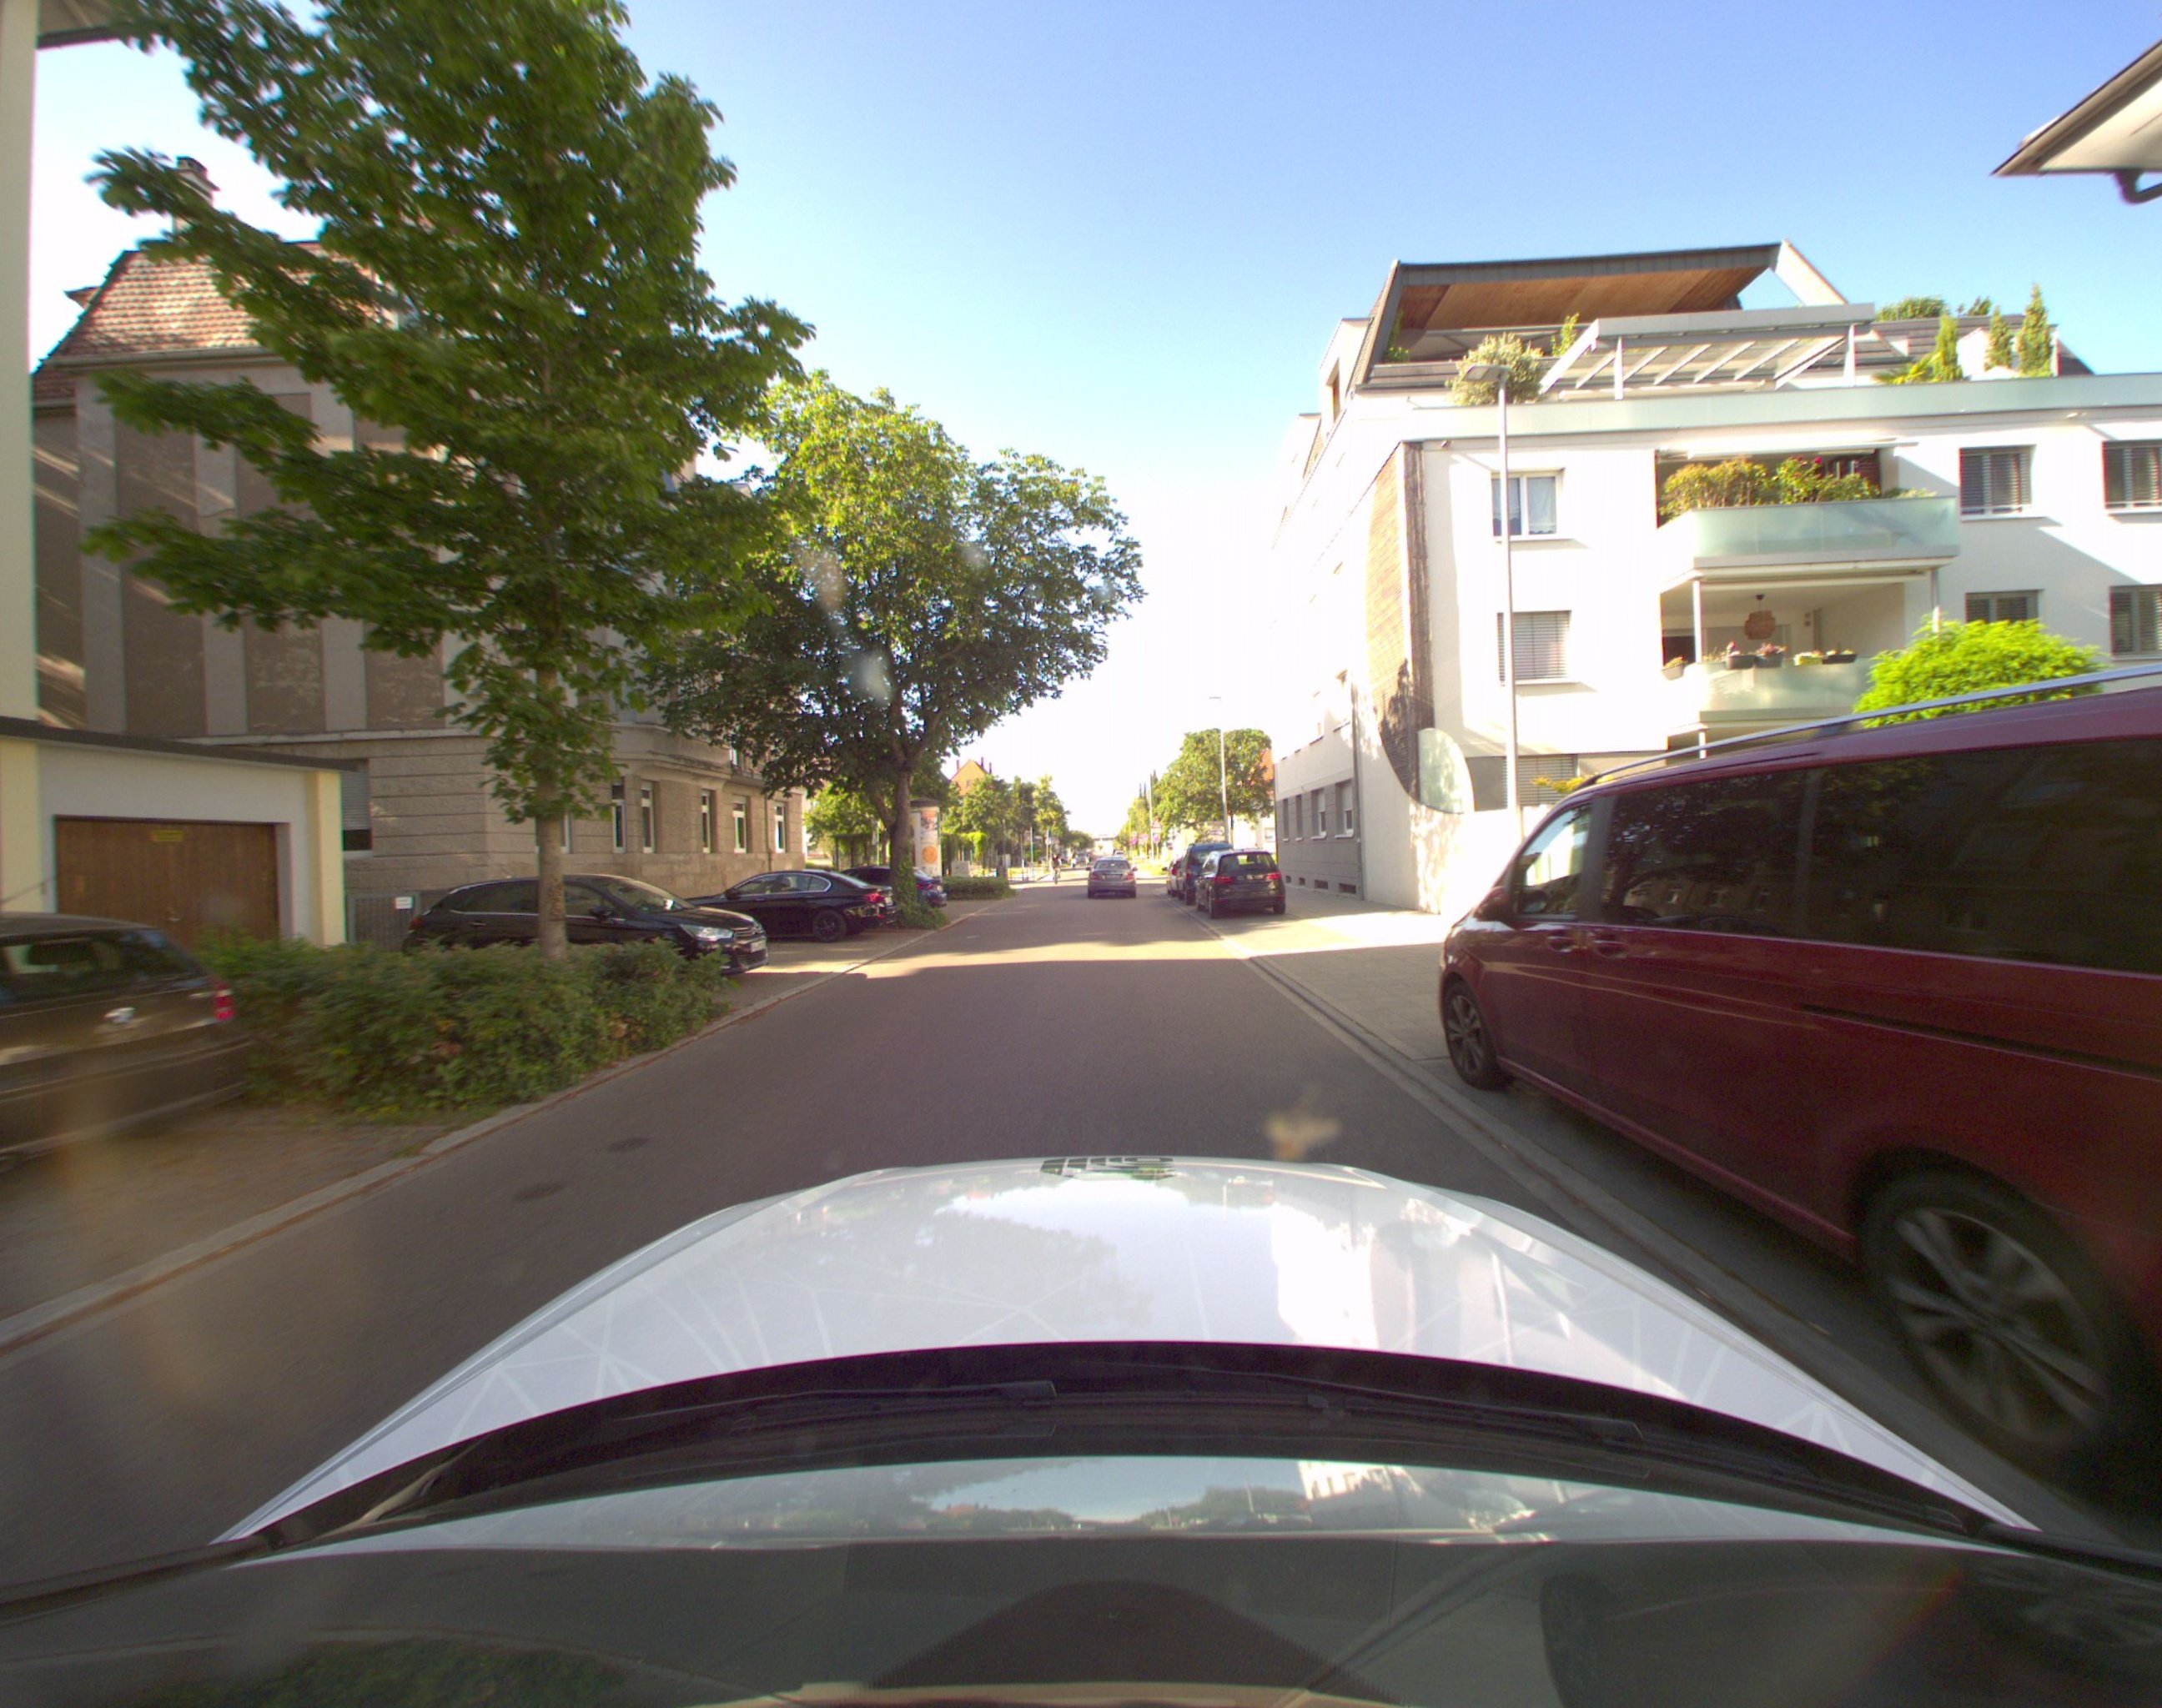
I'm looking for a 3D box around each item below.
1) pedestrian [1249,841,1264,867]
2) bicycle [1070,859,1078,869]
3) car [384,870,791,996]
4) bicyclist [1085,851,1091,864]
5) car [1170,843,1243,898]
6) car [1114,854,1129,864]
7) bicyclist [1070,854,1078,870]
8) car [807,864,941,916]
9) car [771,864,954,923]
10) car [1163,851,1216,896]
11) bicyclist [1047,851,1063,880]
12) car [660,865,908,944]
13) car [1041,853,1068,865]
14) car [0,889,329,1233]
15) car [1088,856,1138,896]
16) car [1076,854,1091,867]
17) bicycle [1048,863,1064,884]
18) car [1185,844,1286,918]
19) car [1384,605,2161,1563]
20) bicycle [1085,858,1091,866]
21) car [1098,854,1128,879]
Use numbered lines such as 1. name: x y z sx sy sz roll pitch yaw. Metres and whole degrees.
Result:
1. pedestrian: 11.520 0.004 53.468 0.640 1.623 0.621 -3 0 40
2. bicycle: -0.661 0.966 77.454 0.586 0.931 1.852 -2 0 3
3. car: -6.311 0.963 10.917 4.166 1.500 1.996 0 -1 -6
4. bicyclist: 0.802 0.449 96.288 0.569 1.509 0.655 -2 0 3
5. car: 3.910 0.535 25.994 1.676 1.435 4.267 -6 -1 2
6. car: 5.729 0.667 115.065 1.718 1.330 3.996 -2 0 -3
7. bicyclist: -0.690 0.751 77.440 0.677 1.509 0.655 -2 0 3
8. car: -6.215 1.066 24.704 3.566 1.430 1.731 -1 0 1
9. car: -5.837 1.042 22.162 4.460 1.479 1.868 -1 -1 -1
10. car: 3.983 0.708 30.358 1.558 1.410 3.732 -6 -1 3
11. bicyclist: -1.390 0.615 44.379 0.718 1.537 1.137 -3 0 2
12. car: -6.061 1.020 17.029 4.460 1.479 1.868 -1 -1 -1
13. car: -3.520 0.659 107.540 3.488 1.533 1.642 -2 0 -5
14. car: -6.764 0.979 4.257 3.973 1.421 1.771 -1 1 0
15. car: 1.217 0.810 30.490 1.719 1.420 3.963 0 -1 3
16. car: 0.307 0.860 112.626 1.868 1.728 3.996 -2 0 -3
17. bicycle: -1.346 1.045 44.337 0.716 1.079 1.892 -3 0 2
18. car: 3.719 0.615 20.282 1.730 1.531 4.180 -5 0 2
19. car: 3.159 0.445 3.581 1.864 1.905 5.201 -3 -1 3
20. bicycle: 0.815 0.906 96.279 0.586 0.931 1.852 -2 0 3
21. car: 1.840 0.754 48.225 1.701 1.448 4.203 0 -1 1
